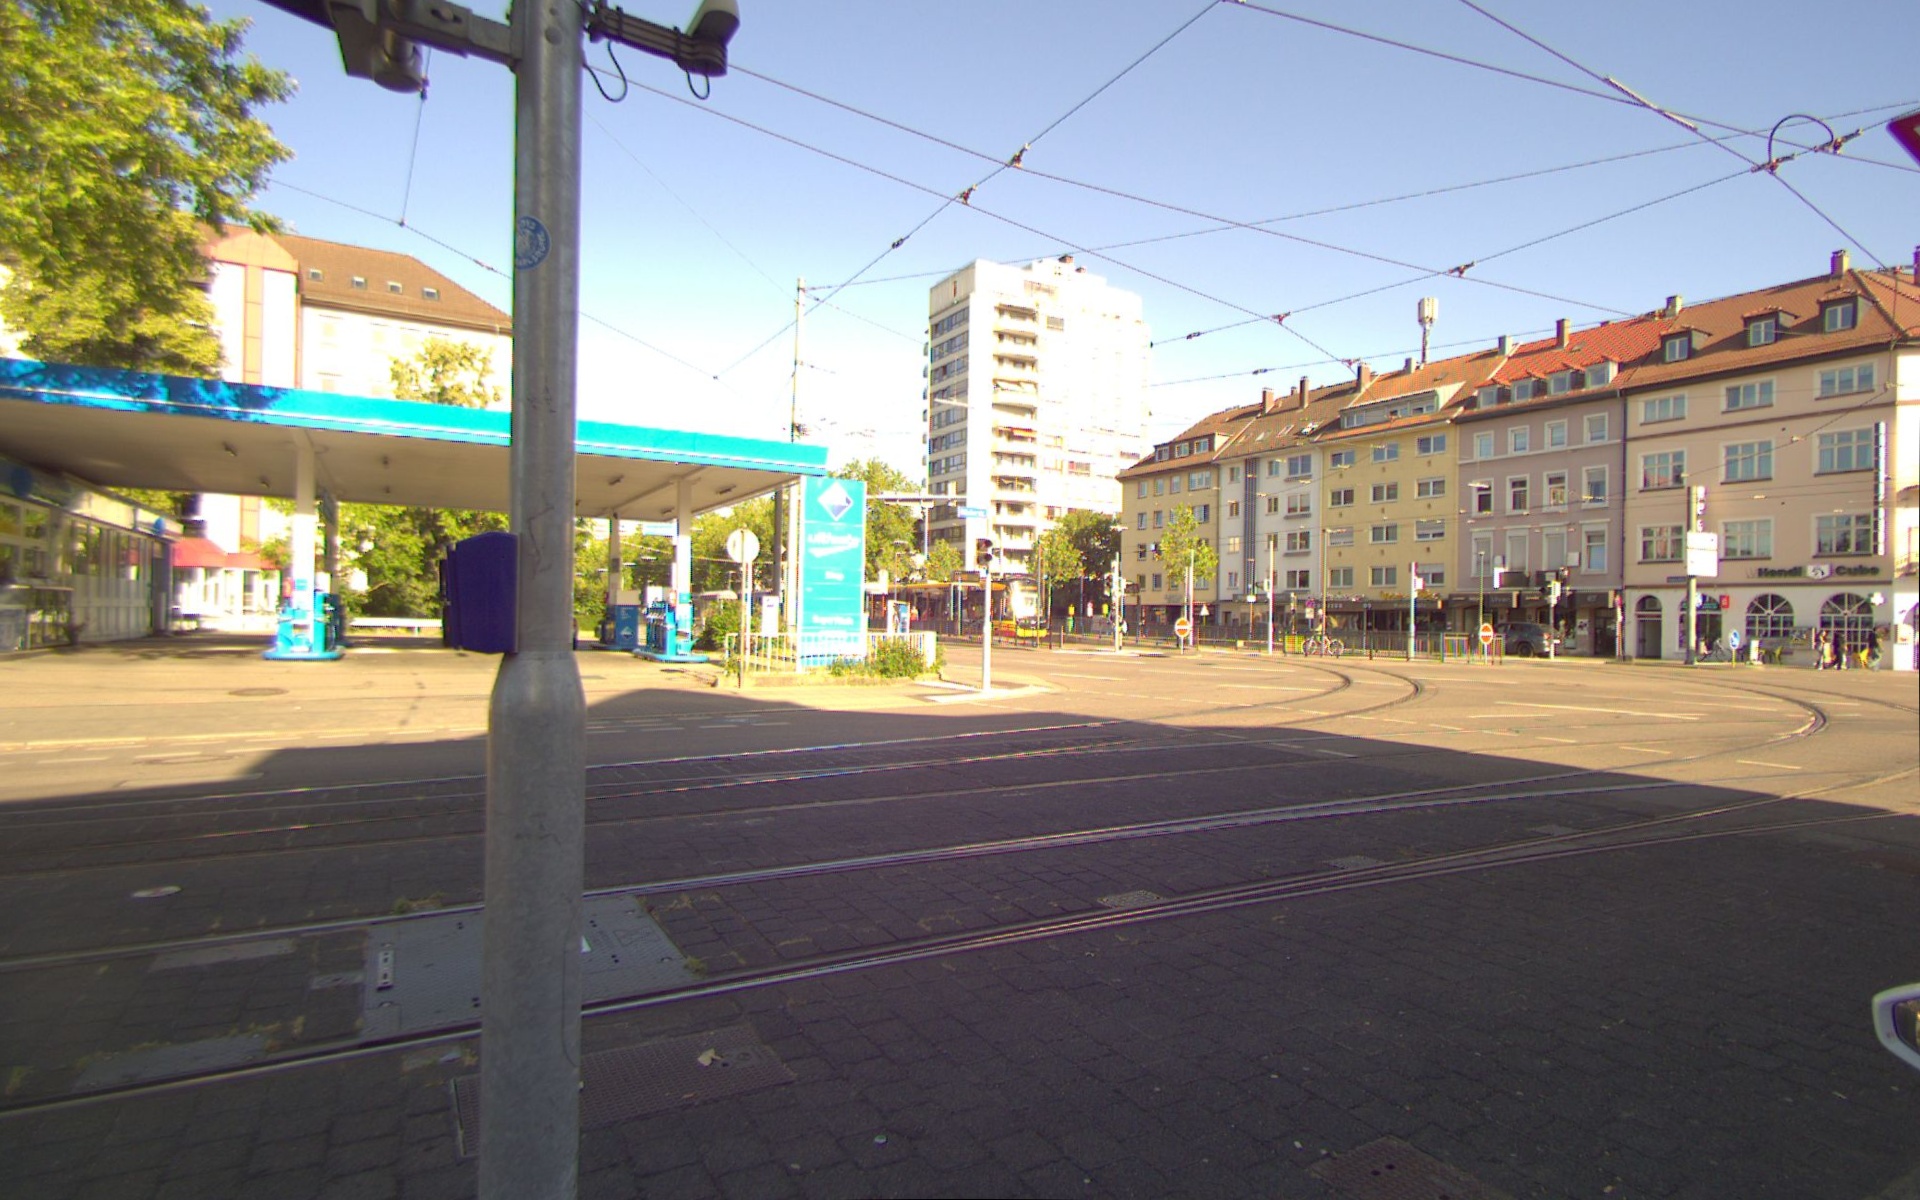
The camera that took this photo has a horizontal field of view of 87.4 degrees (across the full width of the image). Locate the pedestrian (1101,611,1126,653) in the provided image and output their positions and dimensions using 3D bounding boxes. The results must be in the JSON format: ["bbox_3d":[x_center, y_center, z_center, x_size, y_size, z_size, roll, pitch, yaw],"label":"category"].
[{"bbox_3d":[6.214,1.297,40.622,0.675,1.656,0.694,2,0,-35],"label":"pedestrian"}]

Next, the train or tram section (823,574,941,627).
[{"bbox_3d":[-5.535,-0.006,68.090,2.751,3.273,12.286,2,0,-31],"label":"train or tram section"}]

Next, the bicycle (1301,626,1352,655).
[{"bbox_3d":[14.289,1.578,39.213,1.759,1.084,0.575,2,0,1],"label":"bicycle"}]

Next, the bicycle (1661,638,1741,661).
[{"bbox_3d":[37.498,2.491,50.898,0.989,0.993,3.115,2,0,-29],"label":"bicycle"}]

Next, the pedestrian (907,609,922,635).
[{"bbox_3d":[-2.735,1.340,60.427,0.809,1.532,0.703,1,-1,-14],"label":"pedestrian"}]

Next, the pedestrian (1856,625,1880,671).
[{"bbox_3d":[38.843,2.043,42.987,0.460,1.906,0.629,2,0,-33],"label":"pedestrian"}]

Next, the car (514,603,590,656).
[{"bbox_3d":[-12.193,0.849,29.928,1.764,1.411,3.455,2,0,-28],"label":"car"}]

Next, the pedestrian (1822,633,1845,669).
[{"bbox_3d":[37.653,2.197,43.309,0.460,1.496,0.629,2,0,-33],"label":"pedestrian"}]

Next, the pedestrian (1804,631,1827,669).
[{"bbox_3d":[37.689,2.203,44.256,0.460,1.633,0.629,2,0,-33],"label":"pedestrian"}]

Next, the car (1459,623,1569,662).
[{"bbox_3d":[26.026,1.987,47.316,1.930,1.639,4.146,2,0,-30],"label":"car"}]

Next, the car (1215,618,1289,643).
[{"bbox_3d":[17.668,1.842,60.919,1.980,1.394,3.961,2,0,-35],"label":"car"}]

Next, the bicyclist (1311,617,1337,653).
[{"bbox_3d":[14.206,1.354,39.210,0.787,1.384,0.560,2,0,2],"label":"bicyclist"}]

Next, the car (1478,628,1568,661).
[{"bbox_3d":[30.854,2.417,55.143,1.970,1.692,3.981,1,-1,-21],"label":"car"}]

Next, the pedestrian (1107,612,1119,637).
[{"bbox_3d":[10.270,1.663,67.418,0.570,1.649,0.522,2,0,-31],"label":"pedestrian"}]

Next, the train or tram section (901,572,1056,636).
[{"bbox_3d":[0.712,0.166,57.601,2.751,3.273,12.286,2,0,-31],"label":"train or tram section"}]

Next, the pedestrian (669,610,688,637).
[{"bbox_3d":[-16.101,1.323,57.447,0.817,1.532,0.696,1,-1,-44],"label":"pedestrian"}]
